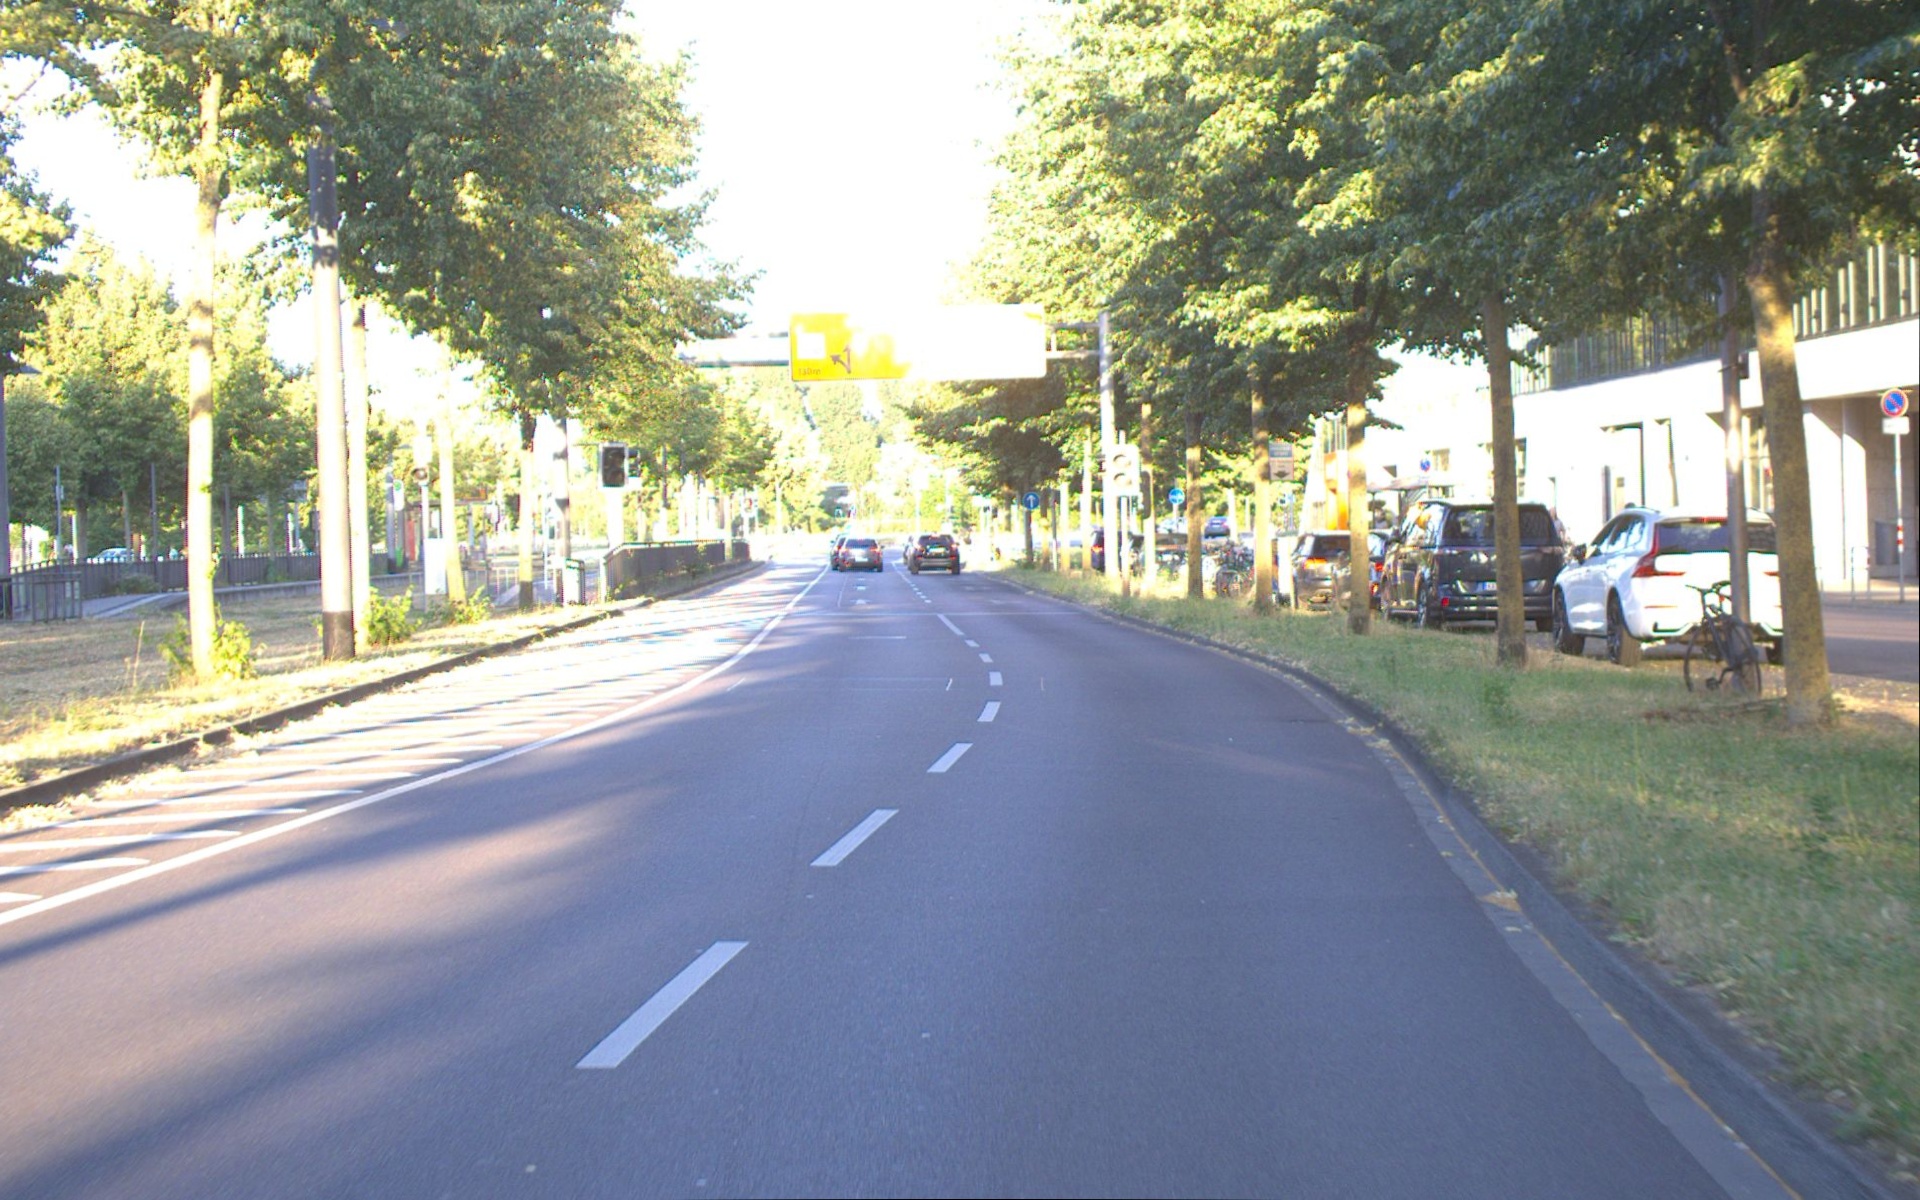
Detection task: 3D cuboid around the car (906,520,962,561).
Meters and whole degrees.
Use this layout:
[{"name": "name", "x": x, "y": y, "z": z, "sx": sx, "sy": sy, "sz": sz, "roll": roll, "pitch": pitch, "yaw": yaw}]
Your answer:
[{"name": "car", "x": -0.975, "y": -2.205, "z": 127.887, "sx": 1.911, "sy": 1.481, "sz": 4.001, "roll": -1, "pitch": 1, "yaw": -2}]

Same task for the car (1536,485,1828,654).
[{"name": "car", "x": 7.602, "y": -0.351, "z": 36.692, "sx": 1.993, "sy": 1.637, "sz": 4.879, "roll": -1, "pitch": 1, "yaw": -1}]

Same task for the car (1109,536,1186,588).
[{"name": "car", "x": 5.521, "y": -1.143, "z": 101.700, "sx": 1.777, "sy": 1.467, "sz": 4.289, "roll": -1, "pitch": 1, "yaw": -3}]

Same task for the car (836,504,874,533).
[{"name": "car", "x": -5.541, "y": -4.280, "z": 180.997, "sx": 1.911, "sy": 1.481, "sz": 4.001, "roll": -1, "pitch": 1, "yaw": -2}]

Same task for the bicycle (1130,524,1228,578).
[{"name": "bicycle", "x": 4.583, "y": -1.020, "z": 71.861, "sx": 1.941, "sy": 1.050, "sz": 0.545, "roll": 2, "pitch": 1, "yaw": -16}]

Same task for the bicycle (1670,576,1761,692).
[{"name": "bicycle", "x": 5.690, "y": 0.242, "z": 25.944, "sx": 0.315, "sy": 0.820, "sz": 1.552, "roll": -2, "pitch": 1, "yaw": 0}]

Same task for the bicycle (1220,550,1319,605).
[{"name": "bicycle", "x": 6.377, "y": -0.471, "z": 70.886, "sx": 1.941, "sy": 1.050, "sz": 0.545, "roll": 2, "pitch": 1, "yaw": -2}]

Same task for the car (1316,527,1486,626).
[{"name": "car", "x": 7.007, "y": -0.400, "z": 55.044, "sx": 1.809, "sy": 1.466, "sz": 4.666, "roll": -1, "pitch": 1, "yaw": -4}]

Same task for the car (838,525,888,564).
[{"name": "car", "x": -3.929, "y": -2.247, "z": 138.956, "sx": 1.911, "sy": 1.481, "sz": 4.001, "roll": -1, "pitch": 1, "yaw": -2}]

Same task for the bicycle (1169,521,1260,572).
[{"name": "bicycle", "x": 5.685, "y": -1.192, "z": 76.757, "sx": 1.941, "sy": 1.050, "sz": 0.414, "roll": 2, "pitch": 1, "yaw": -9}]

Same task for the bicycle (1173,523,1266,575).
[{"name": "bicycle", "x": 5.627, "y": -1.103, "z": 74.594, "sx": 1.941, "sy": 1.050, "sz": 0.409, "roll": 2, "pitch": 1, "yaw": -9}]

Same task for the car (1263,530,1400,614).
[{"name": "car", "x": 6.625, "y": -0.530, "z": 61.763, "sx": 1.869, "sy": 1.406, "sz": 4.646, "roll": -1, "pitch": 1, "yaw": -1}]

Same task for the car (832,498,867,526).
[{"name": "car", "x": -6.320, "y": -5.028, "z": 196.809, "sx": 1.911, "sy": 1.481, "sz": 4.001, "roll": -1, "pitch": 1, "yaw": -2}]

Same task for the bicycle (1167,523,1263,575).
[{"name": "bicycle", "x": 5.481, "y": -1.099, "z": 73.966, "sx": 1.941, "sy": 1.050, "sz": 0.545, "roll": 2, "pitch": 1, "yaw": -9}]

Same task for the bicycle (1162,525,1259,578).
[{"name": "bicycle", "x": 5.346, "y": -1.045, "z": 73.322, "sx": 1.941, "sy": 1.050, "sz": 0.545, "roll": 2, "pitch": 1, "yaw": -12}]

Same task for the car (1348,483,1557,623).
[{"name": "car", "x": 6.935, "y": -0.676, "z": 48.911, "sx": 1.993, "sy": 1.845, "sz": 4.666, "roll": -1, "pitch": 1, "yaw": -4}]

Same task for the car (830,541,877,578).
[{"name": "car", "x": -4.529, "y": -1.725, "z": 145.453, "sx": 1.911, "sy": 1.481, "sz": 4.001, "roll": -1, "pitch": 1, "yaw": -2}]

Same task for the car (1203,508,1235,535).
[{"name": "car", "x": 17.393, "y": -5.269, "z": 230.913, "sx": 1.993, "sy": 1.722, "sz": 4.000, "roll": -1, "pitch": 1, "yaw": 2}]

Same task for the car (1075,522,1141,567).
[{"name": "car", "x": 5.005, "y": -1.881, "z": 116.707, "sx": 1.756, "sy": 1.461, "sz": 4.159, "roll": -1, "pitch": 1, "yaw": -4}]

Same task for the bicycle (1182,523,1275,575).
[{"name": "bicycle", "x": 5.863, "y": -1.116, "z": 75.081, "sx": 1.941, "sy": 1.050, "sz": 0.409, "roll": 2, "pitch": 1, "yaw": -9}]

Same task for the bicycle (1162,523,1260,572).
[{"name": "bicycle", "x": 5.744, "y": -1.205, "z": 78.722, "sx": 2.142, "sy": 1.050, "sz": 0.571, "roll": 2, "pitch": 1, "yaw": -8}]

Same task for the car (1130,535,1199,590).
[{"name": "car", "x": 5.633, "y": -1.050, "z": 94.817, "sx": 1.575, "sy": 1.467, "sz": 3.882, "roll": -1, "pitch": 1, "yaw": -1}]

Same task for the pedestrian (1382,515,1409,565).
[{"name": "pedestrian", "x": 14.847, "y": -2.047, "z": 117.234, "sx": 0.634, "sy": 1.712, "sz": 0.699, "roll": -2, "pitch": 1, "yaw": -21}]

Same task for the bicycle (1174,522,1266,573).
[{"name": "bicycle", "x": 5.756, "y": -1.169, "z": 76.040, "sx": 1.941, "sy": 1.050, "sz": 0.414, "roll": 2, "pitch": 1, "yaw": -9}]
